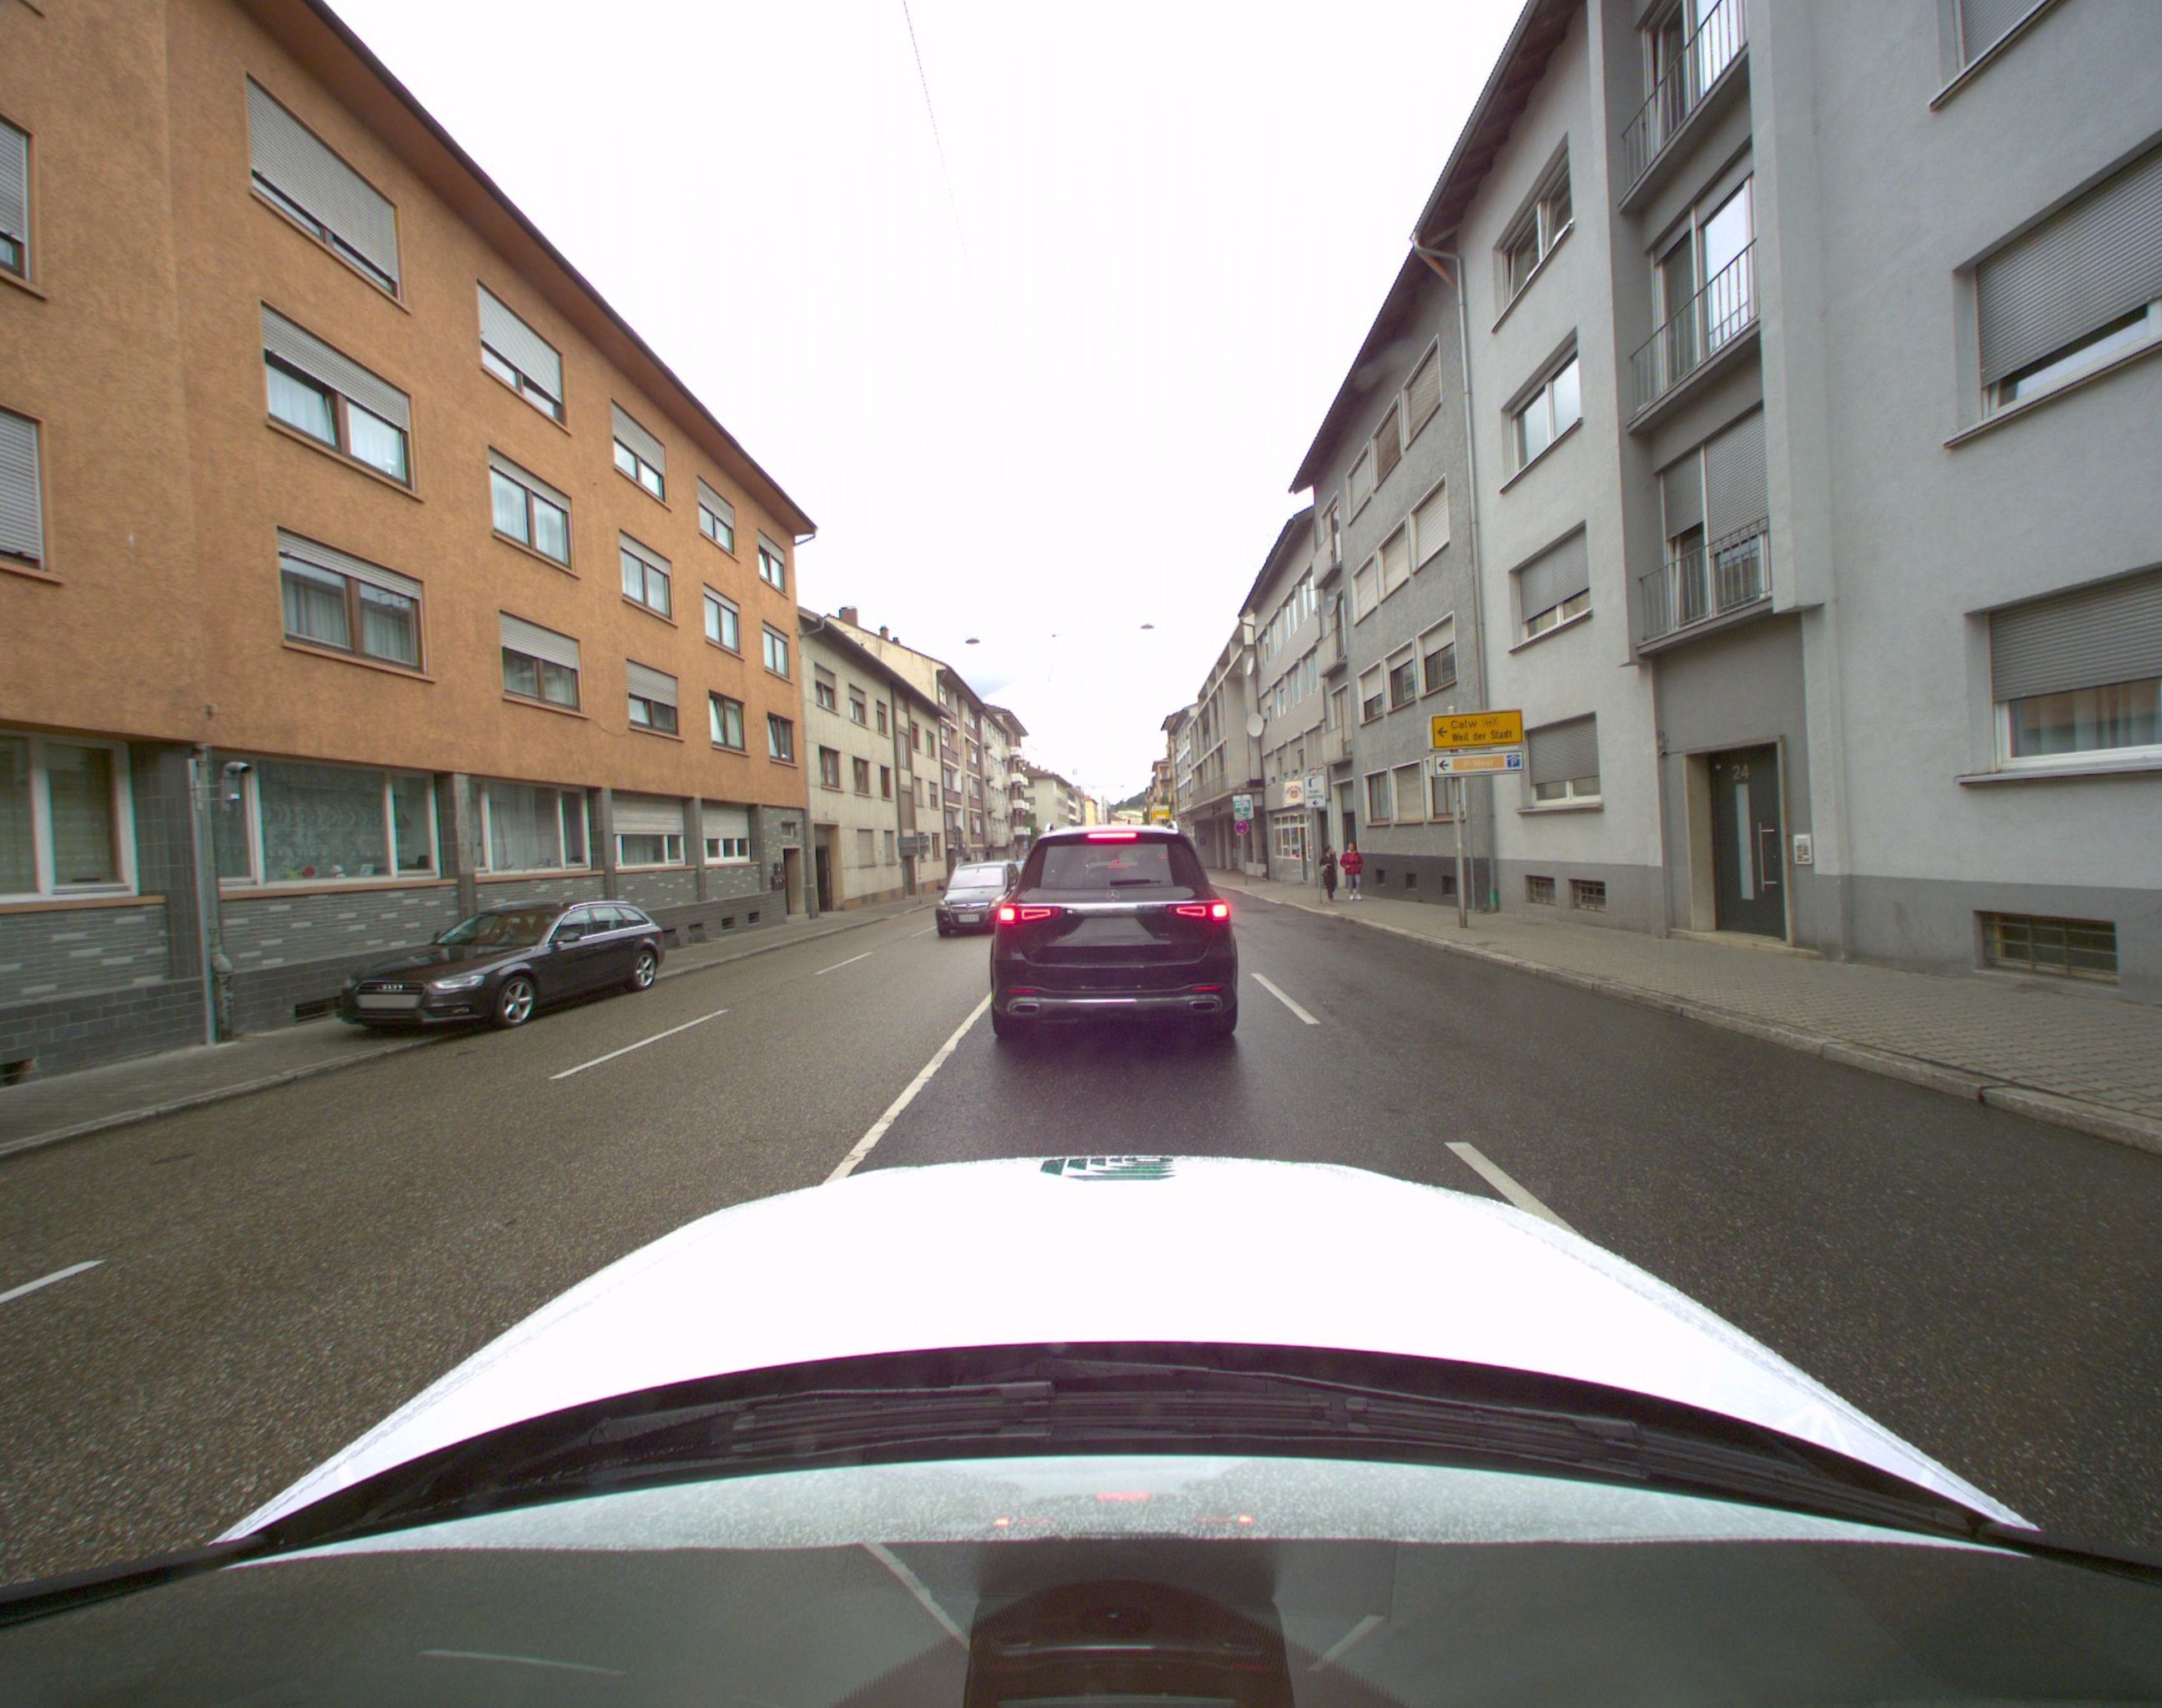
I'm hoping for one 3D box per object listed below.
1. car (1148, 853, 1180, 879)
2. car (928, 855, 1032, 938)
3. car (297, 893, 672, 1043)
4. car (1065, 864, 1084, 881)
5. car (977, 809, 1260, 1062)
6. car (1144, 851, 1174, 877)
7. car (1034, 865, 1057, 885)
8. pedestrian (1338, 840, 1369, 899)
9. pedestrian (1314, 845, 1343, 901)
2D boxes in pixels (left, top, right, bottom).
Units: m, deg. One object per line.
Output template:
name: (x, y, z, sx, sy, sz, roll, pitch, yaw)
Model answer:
car: (5.296, 0.762, 52.453, 1.760, 1.580, 4.002, -2, 0, 2)
car: (-2.270, 0.906, 19.278, 1.727, 1.575, 4.012, -6, 0, 1)
car: (-7.742, 1.374, 11.281, 1.789, 1.438, 4.528, 0, 0, 1)
car: (-0.633, 1.767, 80.097, 1.642, 1.439, 4.127, -4, 0, 2)
car: (0.317, 0.585, 7.844, 2.018, 1.806, 4.001, 0, 0, 1)
car: (5.724, 0.709, 60.189, 1.933, 1.775, 4.748, -1, 0, 2)
car: (-3.113, 1.812, 72.508, 1.642, 1.576, 4.127, -4, 0, 2)
pedestrian: (7.588, 0.430, 22.717, 0.558, 1.578, 0.526, -5, 0, 1)
pedestrian: (6.916, 0.517, 22.776, 0.504, 1.500, 0.562, -5, 0, 1)
